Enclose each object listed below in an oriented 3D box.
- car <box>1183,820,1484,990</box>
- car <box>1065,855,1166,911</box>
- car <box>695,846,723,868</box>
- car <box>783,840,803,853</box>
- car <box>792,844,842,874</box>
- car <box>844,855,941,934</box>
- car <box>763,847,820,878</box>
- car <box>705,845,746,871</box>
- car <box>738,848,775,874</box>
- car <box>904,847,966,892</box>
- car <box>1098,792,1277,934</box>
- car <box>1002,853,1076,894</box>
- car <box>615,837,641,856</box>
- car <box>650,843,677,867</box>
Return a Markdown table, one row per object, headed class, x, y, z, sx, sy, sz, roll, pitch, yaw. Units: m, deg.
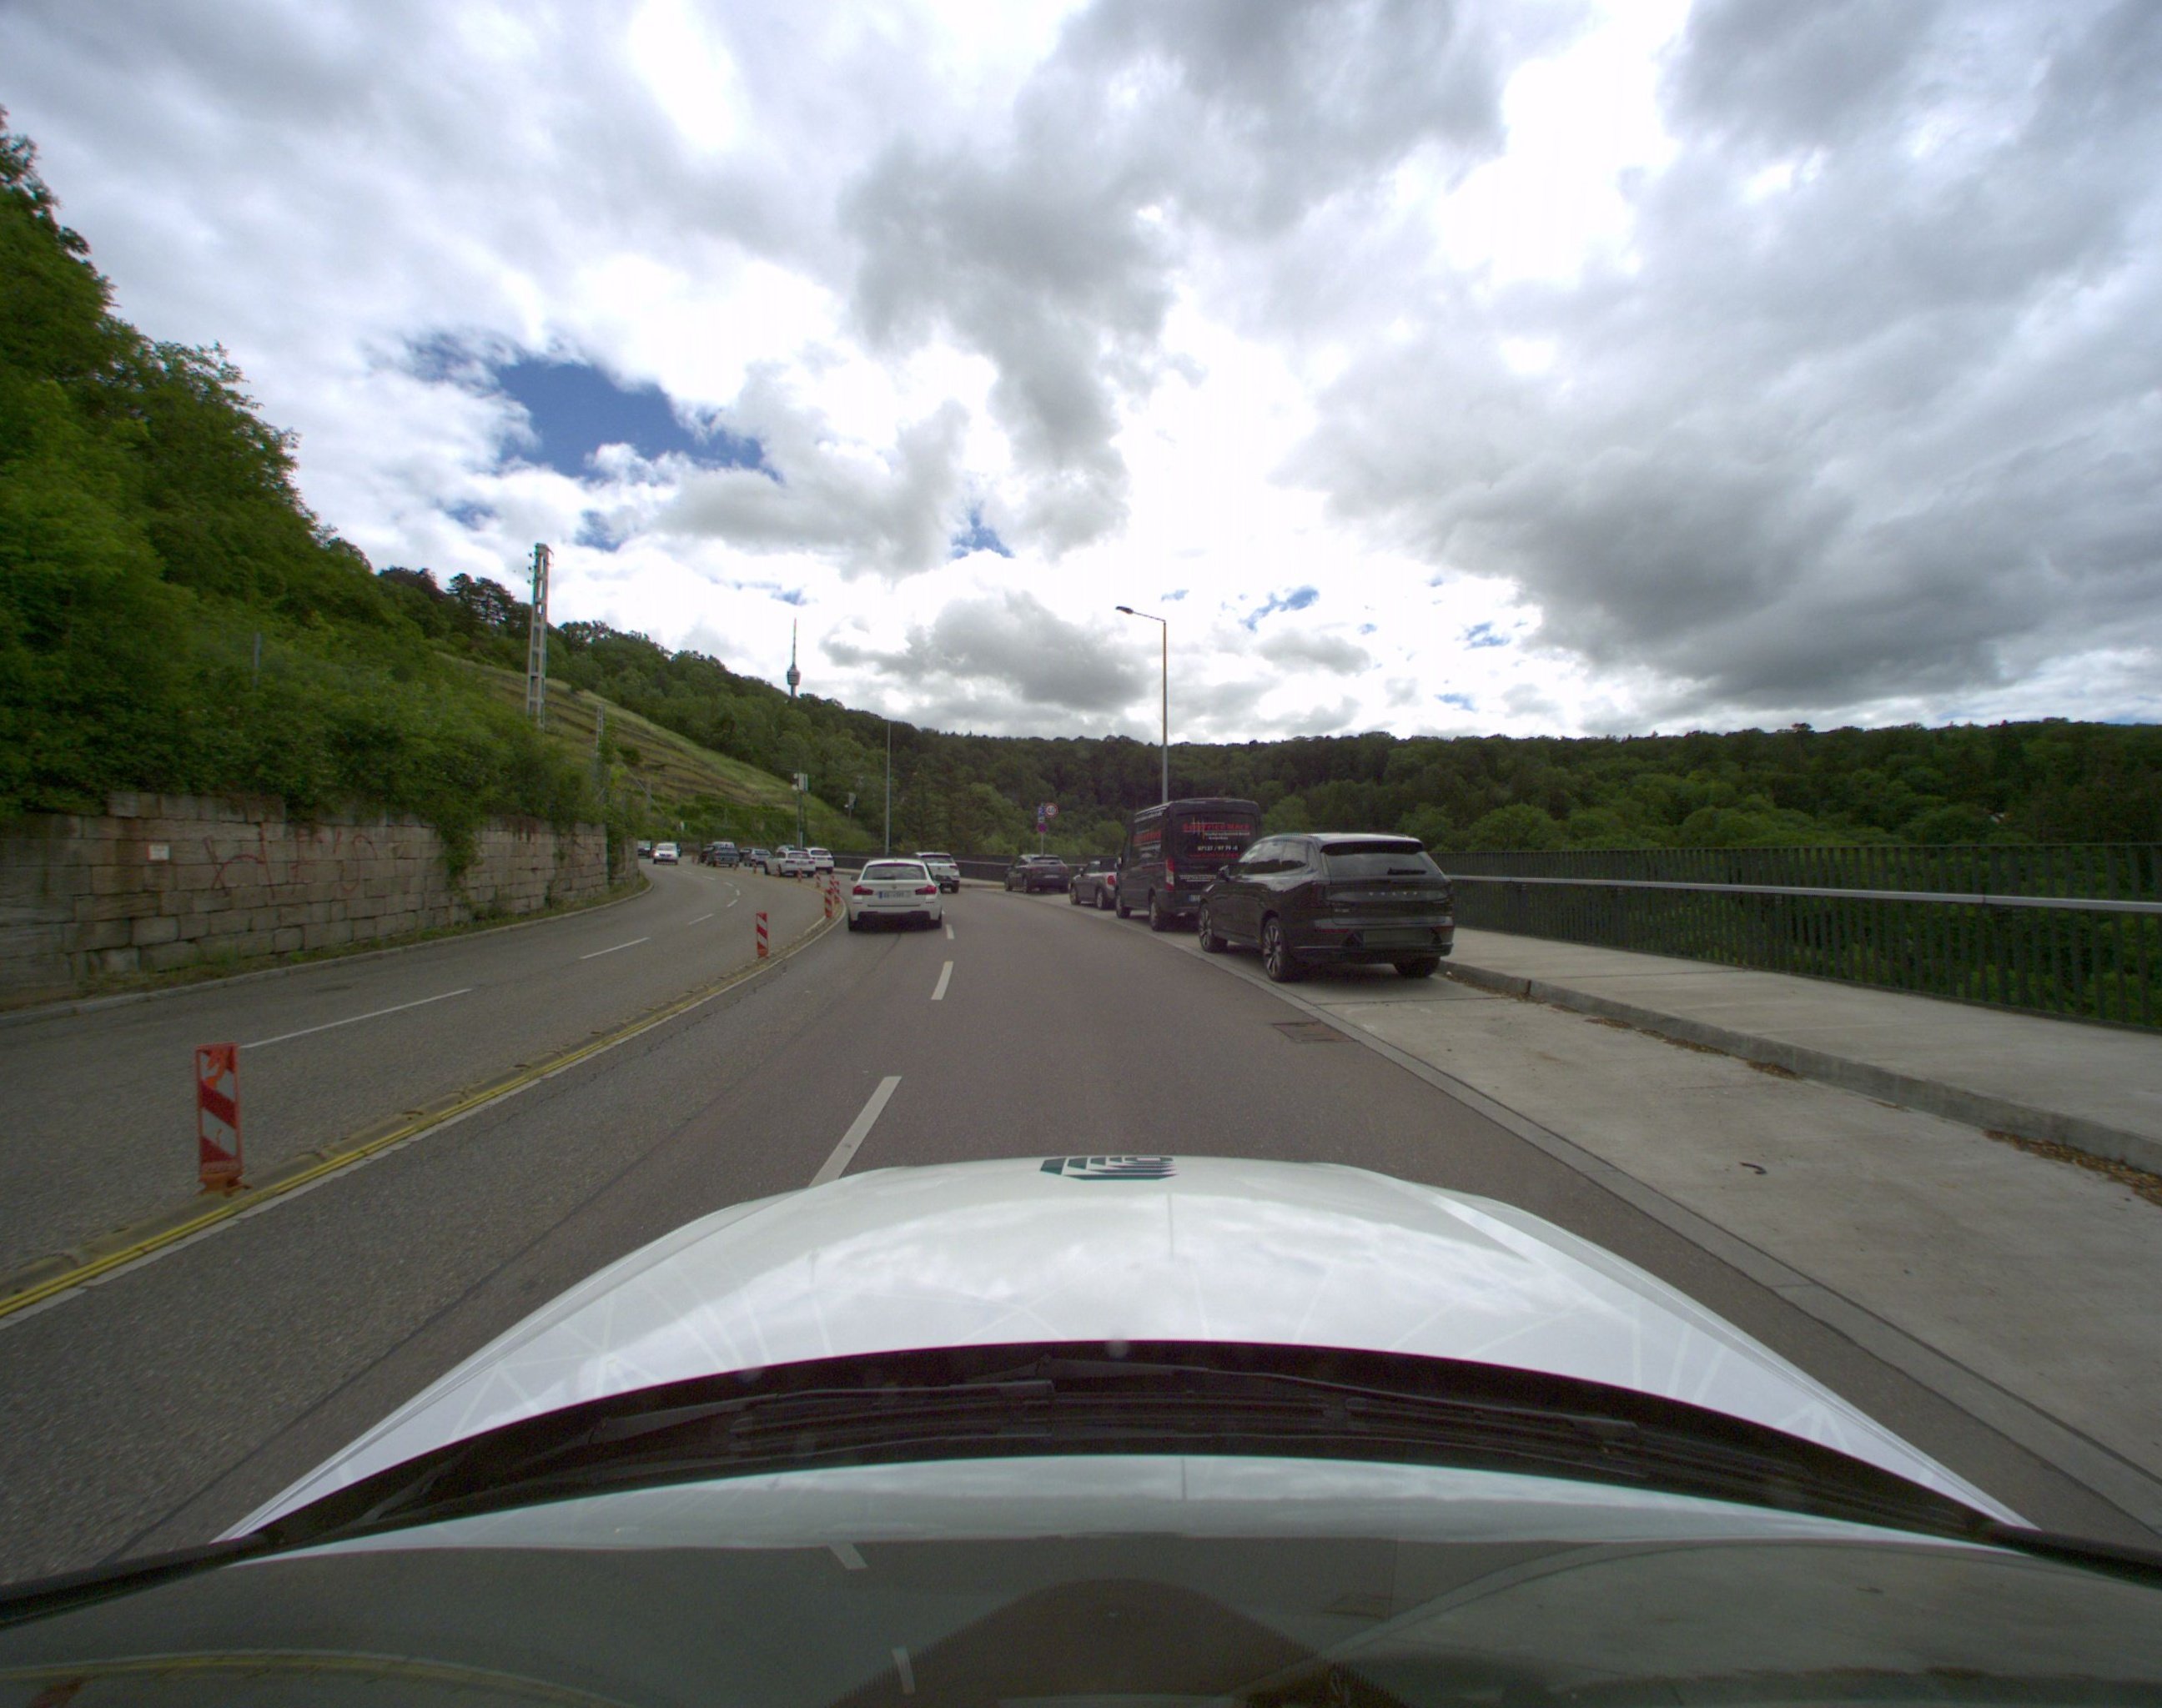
| class | x | y | z | sx | sy | sz | roll | pitch | yaw |
| --- | --- | --- | --- | --- | --- | --- | --- | --- | --- |
| car | 3.000 | 0.564 | 11.101 | 1.992 | 1.718 | 5.036 | -2 | -1 | -7 |
| car | 0.901 | 0.758 | 23.364 | 1.718 | 1.431 | 3.827 | 0 | 0 | -17 |
| car | -32.635 | 0.292 | 71.345 | 1.881 | 1.762 | 3.961 | 1 | -4 | -29 |
| car | -44.583 | -1.138 | 126.153 | 1.865 | 1.762 | 3.996 | 0 | -3 | -2 |
| car | -17.061 | 0.331 | 52.442 | 2.008 | 1.718 | 4.070 | -2 | -1 | -33 |
| car | -4.037 | 0.779 | 17.890 | 1.828 | 1.459 | 4.469 | 0 | 0 | -11 |
| car | -16.398 | 0.506 | 45.976 | 2.008 | 1.503 | 4.618 | -2 | -1 | -33 |
| car | -26.364 | 0.302 | 60.363 | 2.008 | 1.648 | 3.957 | -3 | -1 | -35 |
| car | -26.365 | 0.580 | 66.161 | 2.008 | 2.014 | 3.958 | -1 | -1 | -34 |
| car | -5.884 | 0.648 | 32.423 | 1.833 | 1.606 | 3.975 | -2 | -1 | -18 |
| car | 2.043 | 0.149 | 17.839 | 2.167 | 2.521 | 5.751 | -3 | 0 | -10 |
| car | -1.749 | 0.735 | 32.402 | 1.881 | 1.543 | 4.062 | 1 | 0 | -20 |
| car | -42.740 | -0.666 | 76.770 | 1.855 | 1.726 | 4.417 | 1 | -1 | -32 |
| car | -31.154 | 0.053 | 60.774 | 1.711 | 1.548 | 3.965 | 2 | 1 | -27 |
